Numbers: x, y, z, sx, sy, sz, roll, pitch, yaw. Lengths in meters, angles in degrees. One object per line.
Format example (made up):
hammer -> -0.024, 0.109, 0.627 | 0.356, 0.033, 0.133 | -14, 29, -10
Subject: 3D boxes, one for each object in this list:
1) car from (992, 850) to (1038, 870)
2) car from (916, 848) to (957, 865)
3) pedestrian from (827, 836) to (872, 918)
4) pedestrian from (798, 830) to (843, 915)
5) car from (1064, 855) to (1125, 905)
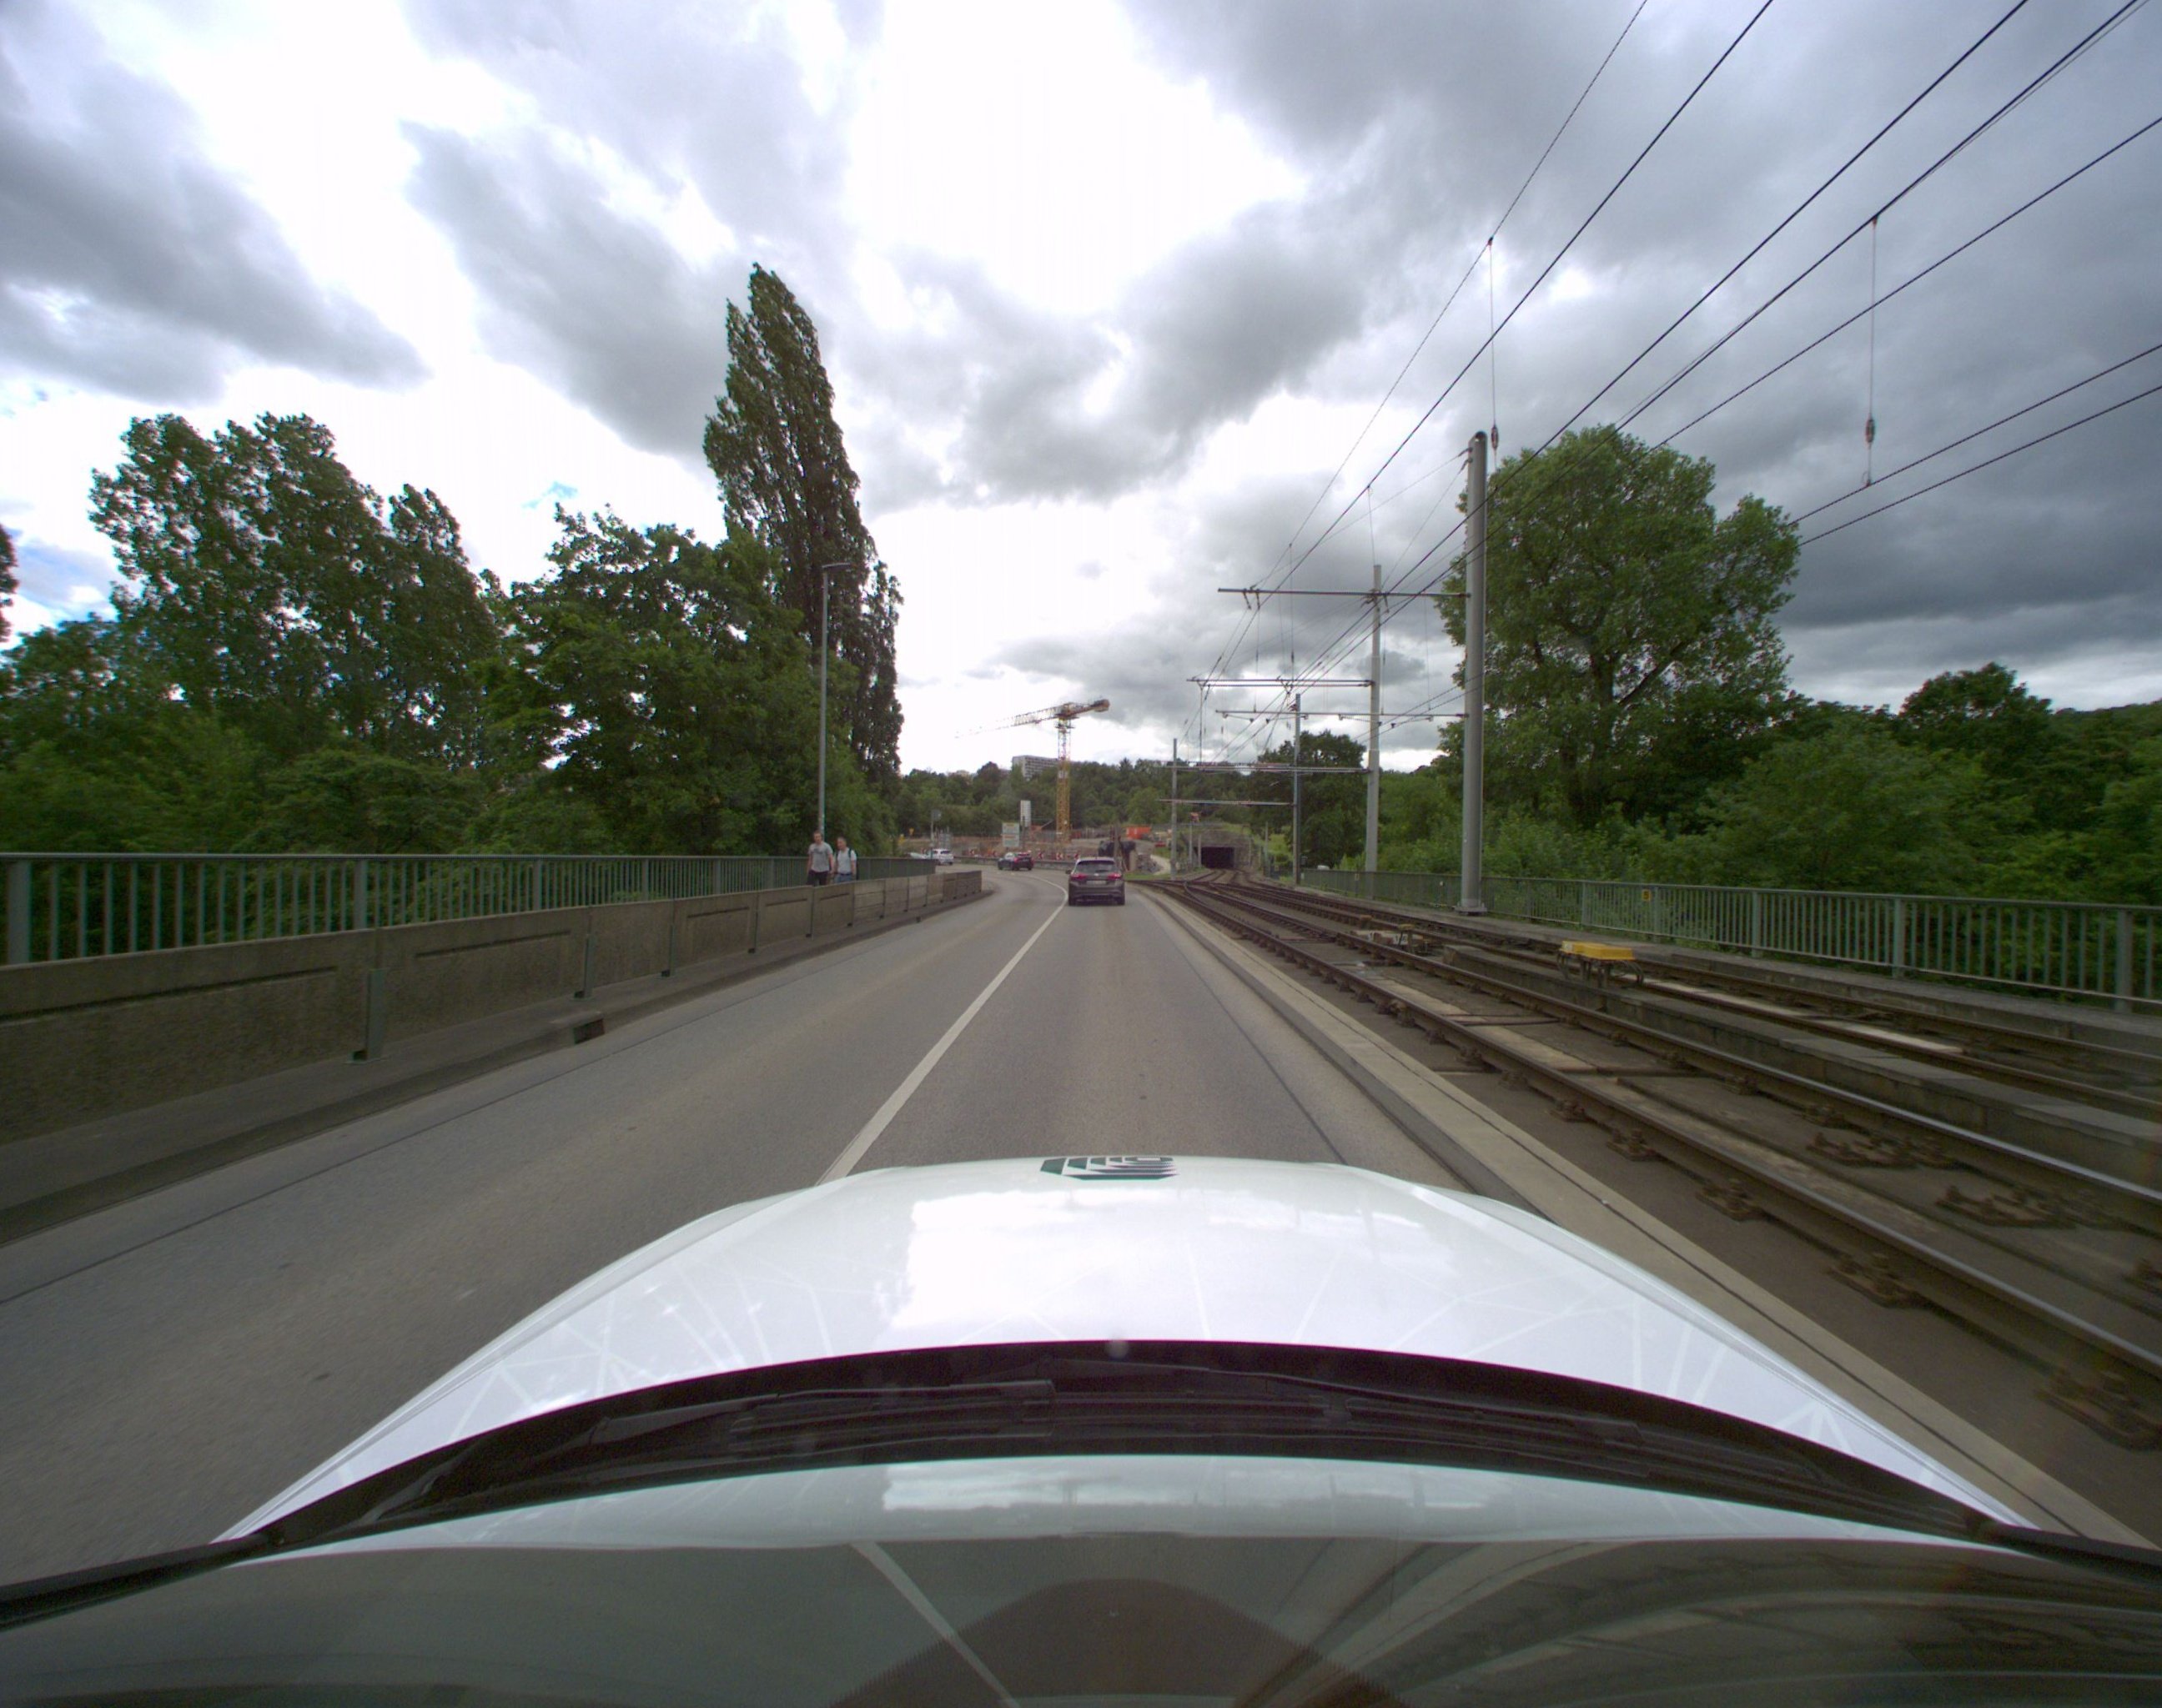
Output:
car -> -5.414, 0.483, 66.311 | 1.693, 1.606, 4.261 | 0, 0, -37
car -> -14.023, 0.240, 78.802 | 4.255, 1.606, 1.695 | 0, 0, 44
pedestrian -> -4.899, 0.479, 17.288 | 0.718, 1.701, 0.723 | 0, 0, 1
pedestrian -> -5.754, 0.398, 18.019 | 0.718, 1.839, 0.723 | 0, 0, 1
car -> 0.458, 0.790, 26.616 | 1.823, 1.510, 4.001 | 0, 0, 1
